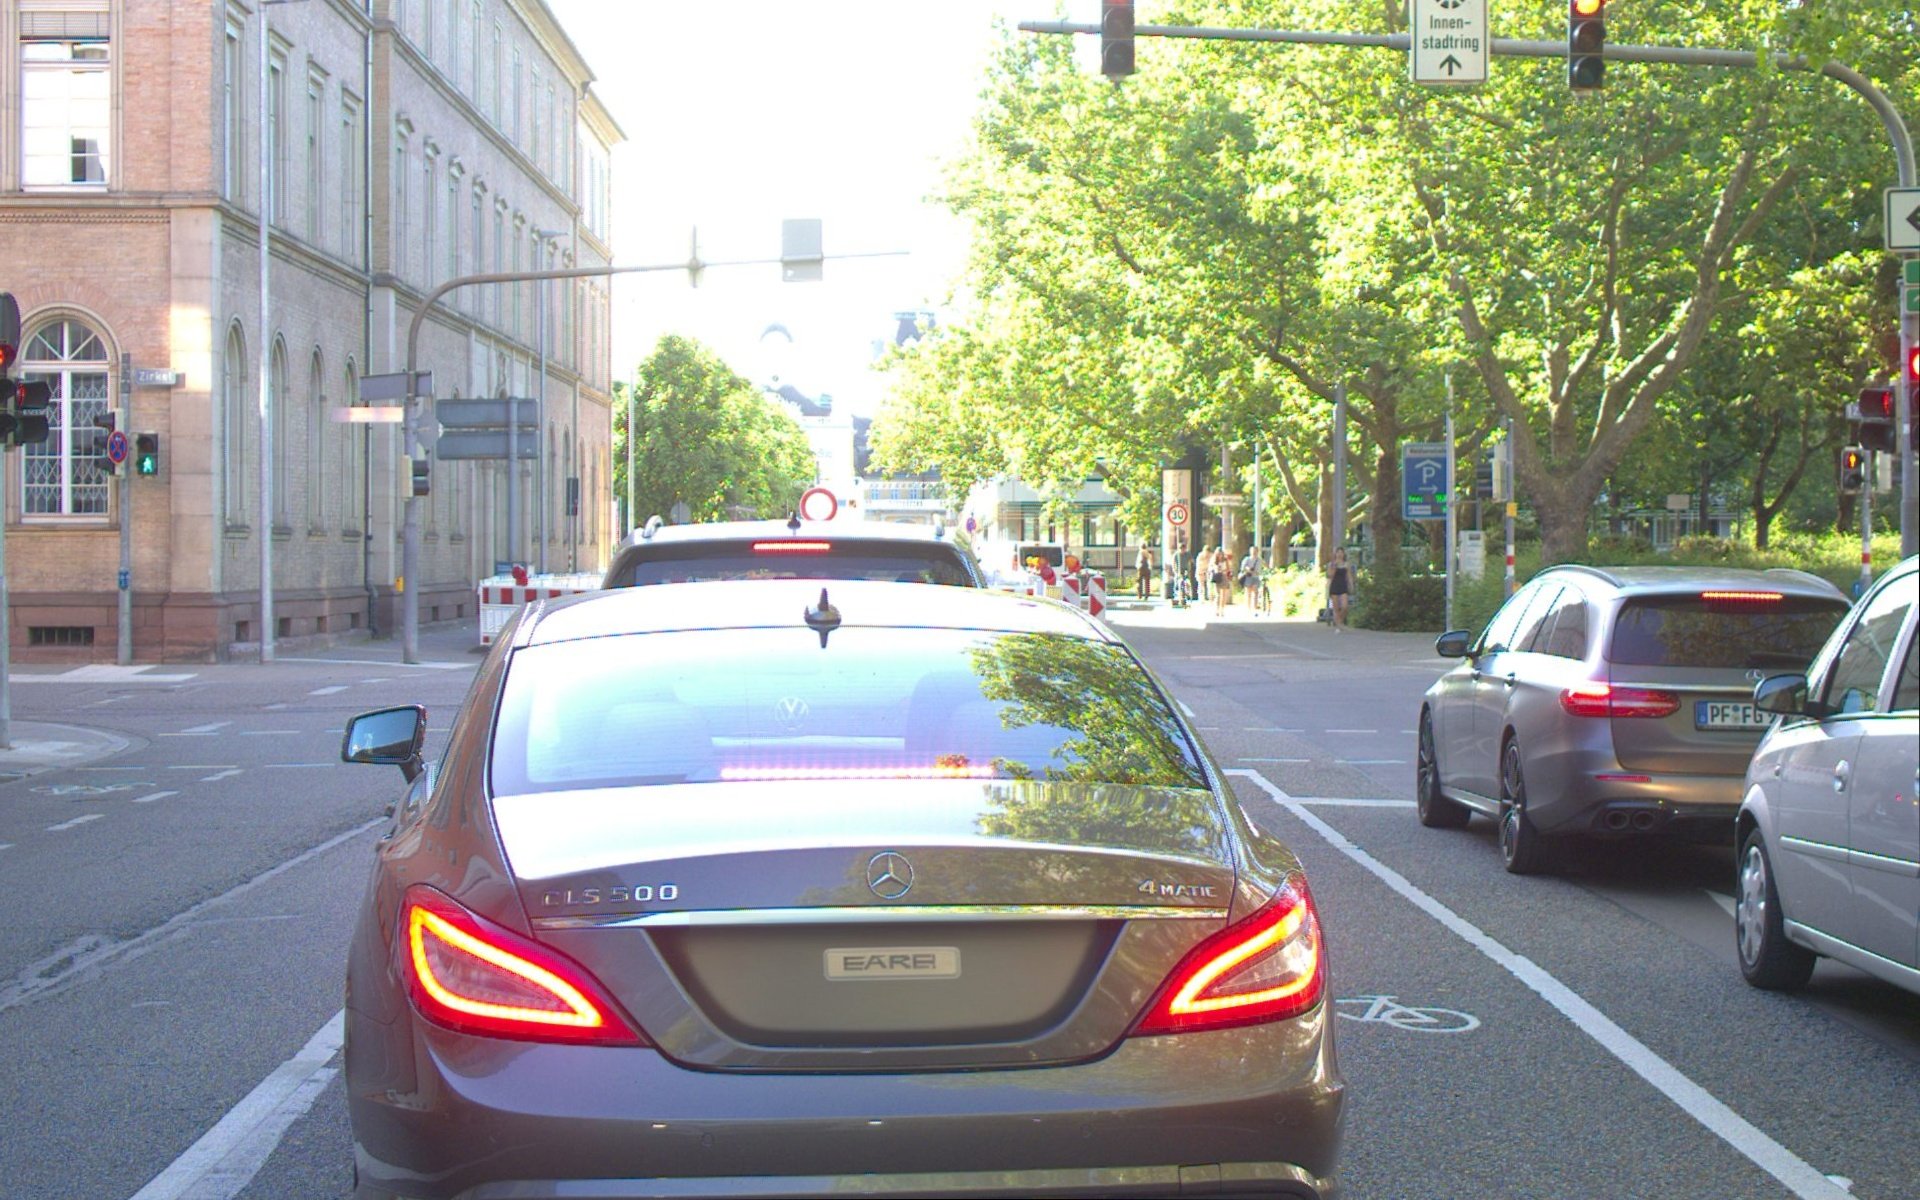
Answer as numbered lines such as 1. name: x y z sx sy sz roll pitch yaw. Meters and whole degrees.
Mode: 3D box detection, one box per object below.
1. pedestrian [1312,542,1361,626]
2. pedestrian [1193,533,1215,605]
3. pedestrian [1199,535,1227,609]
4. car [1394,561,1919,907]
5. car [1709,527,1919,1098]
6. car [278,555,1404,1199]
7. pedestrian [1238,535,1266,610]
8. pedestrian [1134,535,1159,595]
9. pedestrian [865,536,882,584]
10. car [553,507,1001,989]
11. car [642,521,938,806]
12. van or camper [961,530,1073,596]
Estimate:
1. pedestrian: 7.213 -0.308 65.874 0.830 1.601 0.651 1 1 -1
2. pedestrian: 6.769 -0.863 95.475 0.539 2.007 0.474 1 0 -1
3. pedestrian: 6.184 -0.686 84.039 0.603 1.815 0.651 0 1 -1
4. car: 3.503 0.567 17.509 1.913 1.459 4.669 2 1 -1
5. car: 3.582 0.603 10.666 1.701 1.597 3.859 2 1 1
6. car: -0.463 0.644 7.664 1.803 1.451 4.352 0 1 -8
7. pedestrian: 7.127 -0.680 83.976 0.603 1.815 0.651 1 1 -1
8. pedestrian: 5.733 -1.083 105.691 0.701 1.831 0.737 0 1 -3
9. pedestrian: -3.175 -1.471 126.072 0.580 1.727 0.622 0 1 -1
10. car: -0.717 0.478 13.733 1.517 1.641 3.881 1 1 -3
11. car: -1.073 0.360 23.239 1.820 1.756 4.000 0 1 -1
12. van or camper: 1.694 -1.137 103.899 1.993 1.935 4.596 0 1 -18
